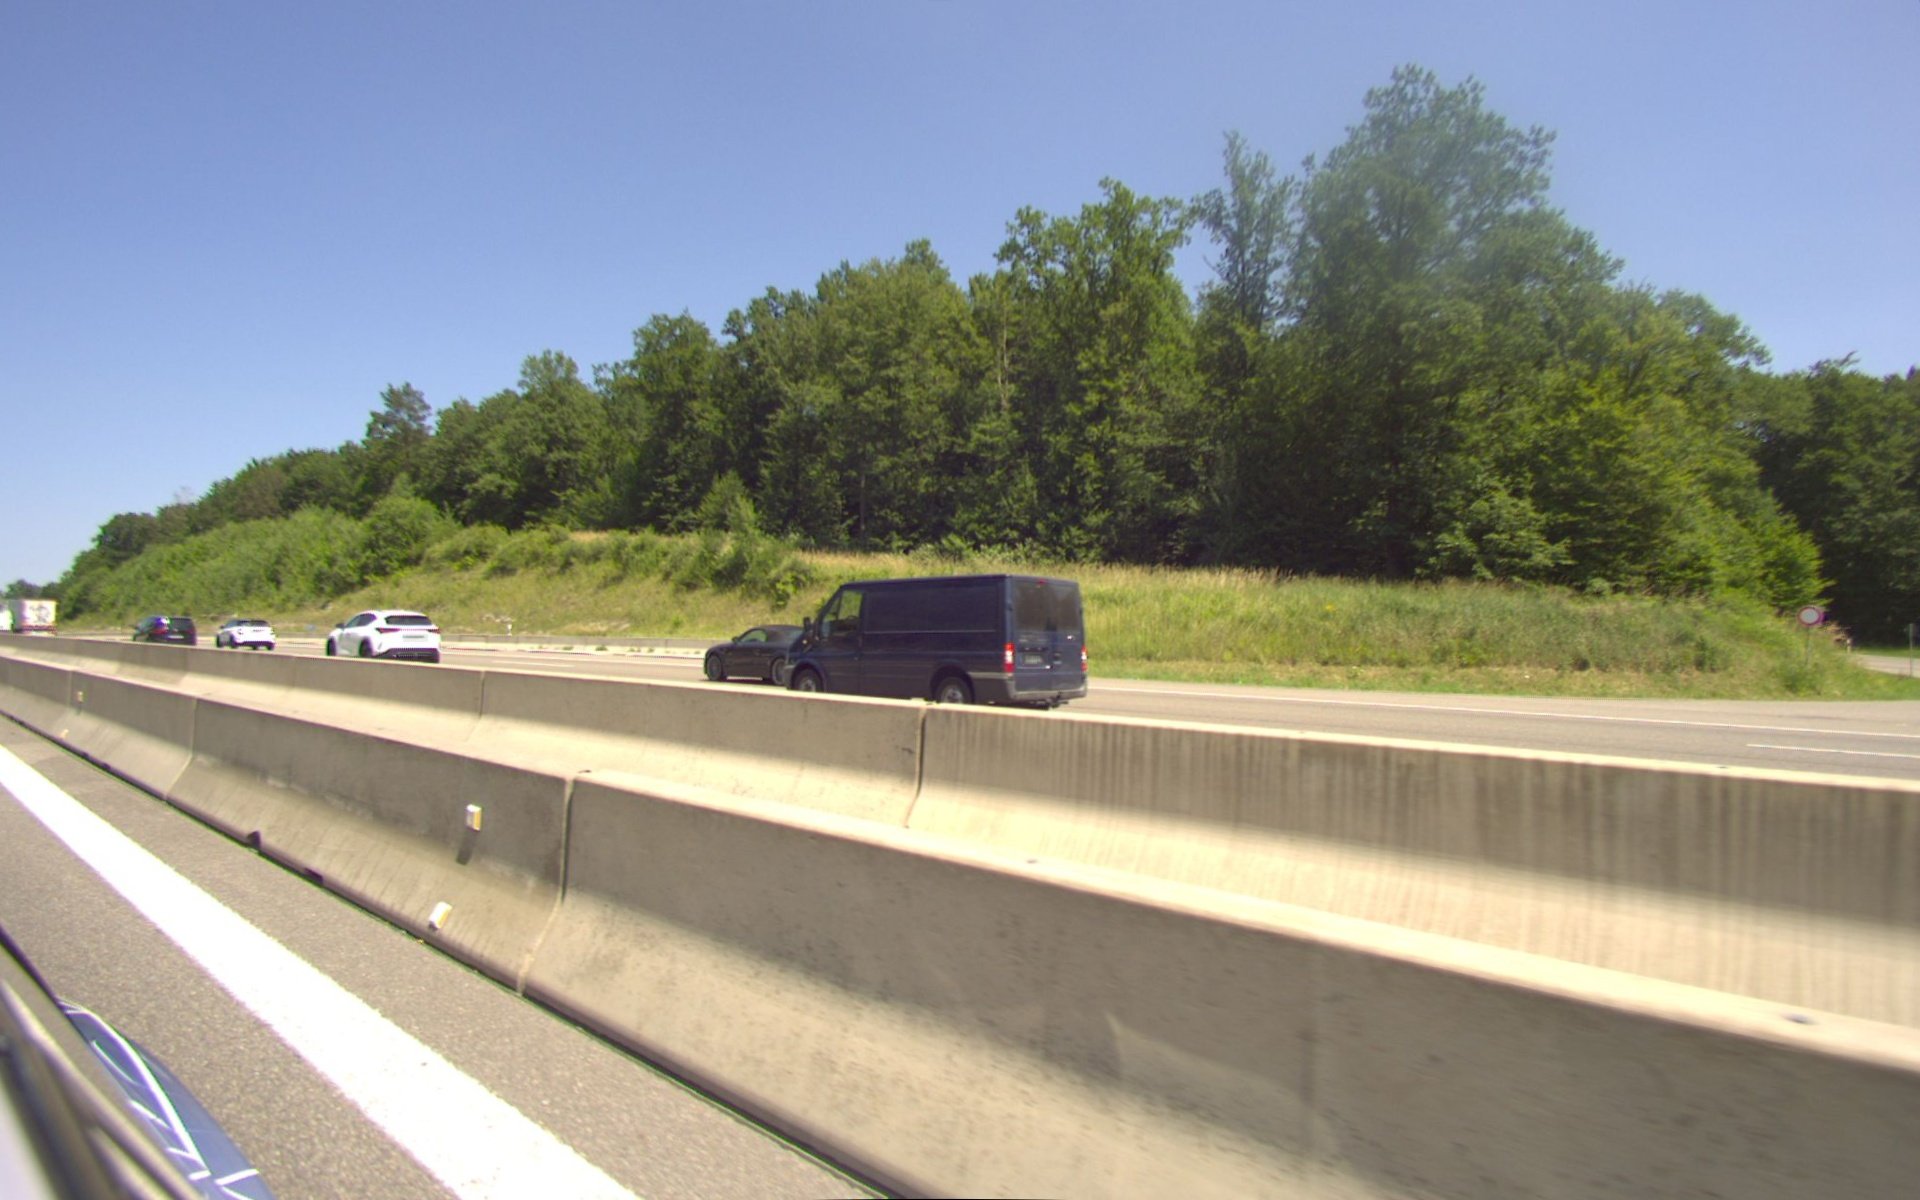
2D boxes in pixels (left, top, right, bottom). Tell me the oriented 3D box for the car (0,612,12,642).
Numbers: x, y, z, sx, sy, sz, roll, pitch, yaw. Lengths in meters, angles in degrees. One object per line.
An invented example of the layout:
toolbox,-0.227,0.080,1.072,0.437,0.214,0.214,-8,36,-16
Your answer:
car,-91.741,2.558,95.956,7.602,2.821,2.063,-1,-2,42

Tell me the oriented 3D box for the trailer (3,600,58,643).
trailer,-95.405,2.224,103.800,13.836,4.115,2.894,-1,-2,42

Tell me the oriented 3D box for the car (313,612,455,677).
car,-16.382,1.202,28.698,4.928,1.682,1.973,-1,-2,41

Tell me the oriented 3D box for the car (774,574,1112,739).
car,-0.370,0.741,14.763,4.808,2.029,1.974,-1,-2,39

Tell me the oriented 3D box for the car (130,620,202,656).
car,-36.369,1.725,46.330,4.727,1.560,1.782,-1,-2,42

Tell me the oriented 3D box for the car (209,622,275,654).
car,-36.423,1.911,51.295,4.421,1.574,1.725,-1,-3,42

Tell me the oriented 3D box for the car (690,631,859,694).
car,-4.317,1.385,23.192,4.298,1.315,1.471,-1,-3,42
